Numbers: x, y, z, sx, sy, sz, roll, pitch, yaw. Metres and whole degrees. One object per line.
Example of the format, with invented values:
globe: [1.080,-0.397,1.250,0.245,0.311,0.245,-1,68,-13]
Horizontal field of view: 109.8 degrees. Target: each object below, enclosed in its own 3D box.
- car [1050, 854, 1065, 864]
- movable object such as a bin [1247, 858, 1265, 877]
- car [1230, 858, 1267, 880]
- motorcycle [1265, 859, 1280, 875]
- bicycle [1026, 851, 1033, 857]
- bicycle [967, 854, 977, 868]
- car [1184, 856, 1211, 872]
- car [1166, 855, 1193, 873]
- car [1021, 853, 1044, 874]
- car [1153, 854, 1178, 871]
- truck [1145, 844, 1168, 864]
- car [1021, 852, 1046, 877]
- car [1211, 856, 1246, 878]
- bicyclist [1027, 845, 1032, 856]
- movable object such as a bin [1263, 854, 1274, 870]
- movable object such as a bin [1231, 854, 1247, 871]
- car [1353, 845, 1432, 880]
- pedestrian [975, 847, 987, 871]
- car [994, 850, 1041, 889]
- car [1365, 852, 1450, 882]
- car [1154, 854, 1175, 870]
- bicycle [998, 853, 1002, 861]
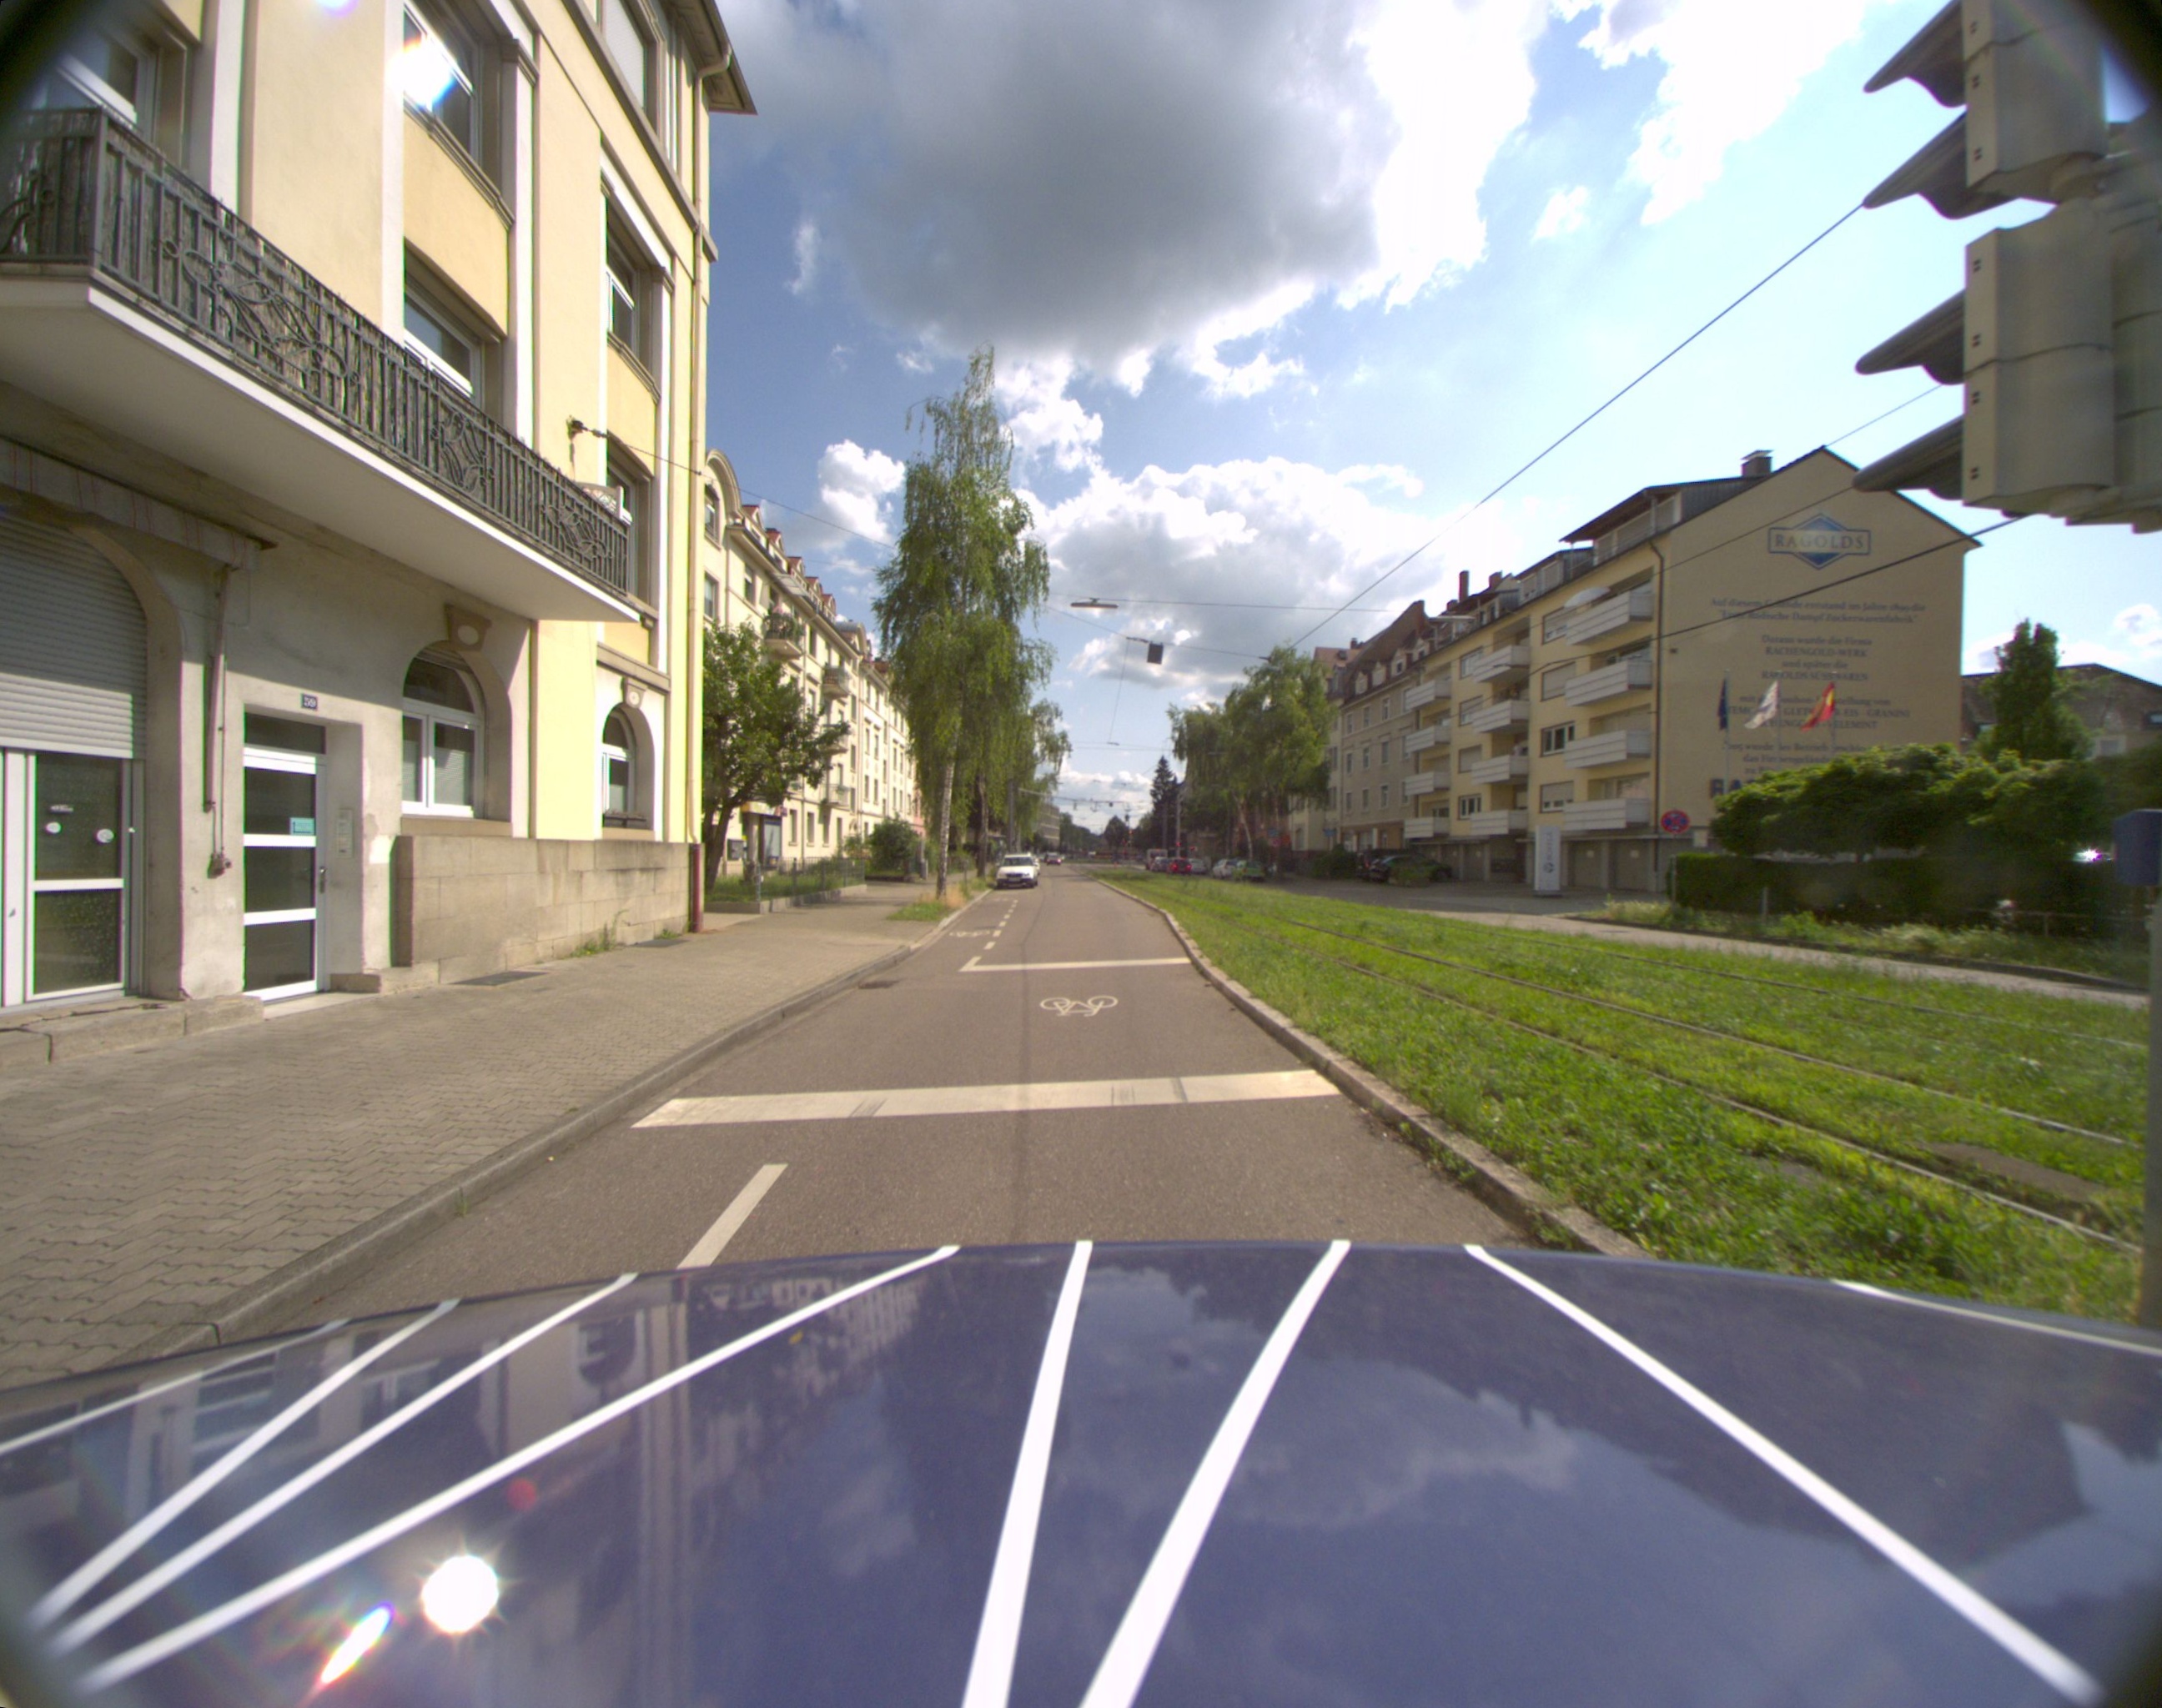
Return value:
car: [-3.095,0.664,101.763,1.741,1.313,4.000,-1,0,1]
movable object such as a bin: [13.425,1.021,58.365,0.953,1.421,1.521,-2,0,-3]
car: [11.448,1.015,52.025,1.598,1.423,3.613,1,0,-1]
motorcycle: [13.573,0.887,53.910,0.500,1.037,1.631,-3,2,-3]
bicycle: [-7.905,-0.063,117.229,0.771,0.885,1.892,1,0,3]
bicycle: [-8.735,0.576,60.818,0.473,1.071,2.182,1,0,-1]
car: [10.740,0.911,70.266,1.759,1.348,3.994,1,0,-1]
car: [8.152,0.805,63.181,1.583,1.378,3.692,1,0,-2]
car: [-3.647,0.696,58.044,1.624,1.444,3.917,-3,1,-3]
car: [7.799,0.782,70.386,1.759,1.348,4.511,3,1,-1]
truck: [8.526,0.010,86.368,2.190,2.201,6.613,2,0,2]
car: [-3.084,0.650,49.222,1.498,1.570,3.757,-2,0,-4]
car: [11.030,0.936,57.036,1.649,1.469,4.224,2,0,-2]
bicyclist: [-7.899,-0.514,117.144,0.666,1.679,0.857,1,1,3]
movable object such as a bin: [16.503,0.704,66.826,0.675,1.354,0.699,1,1,-6]
movable object such as a bin: [13.486,0.732,64.887,0.953,1.359,1.521,-4,1,-3]
car: [18.872,0.515,46.184,3.997,2.002,1.937,-1,1,1]
pedestrian: [-7.136,0.363,54.287,0.731,1.673,0.691,3,1,1]
car: [-2.836,0.677,34.681,1.725,1.620,4.000,-2,0,0]
car: [18.642,0.740,43.482,3.998,1.593,1.972,-1,0,-2]
car: [8.404,0.798,76.924,1.759,1.406,4.134,3,1,2]
bicycle: [-10.735,0.439,100.628,0.350,1.016,1.480,4,0,-3]
